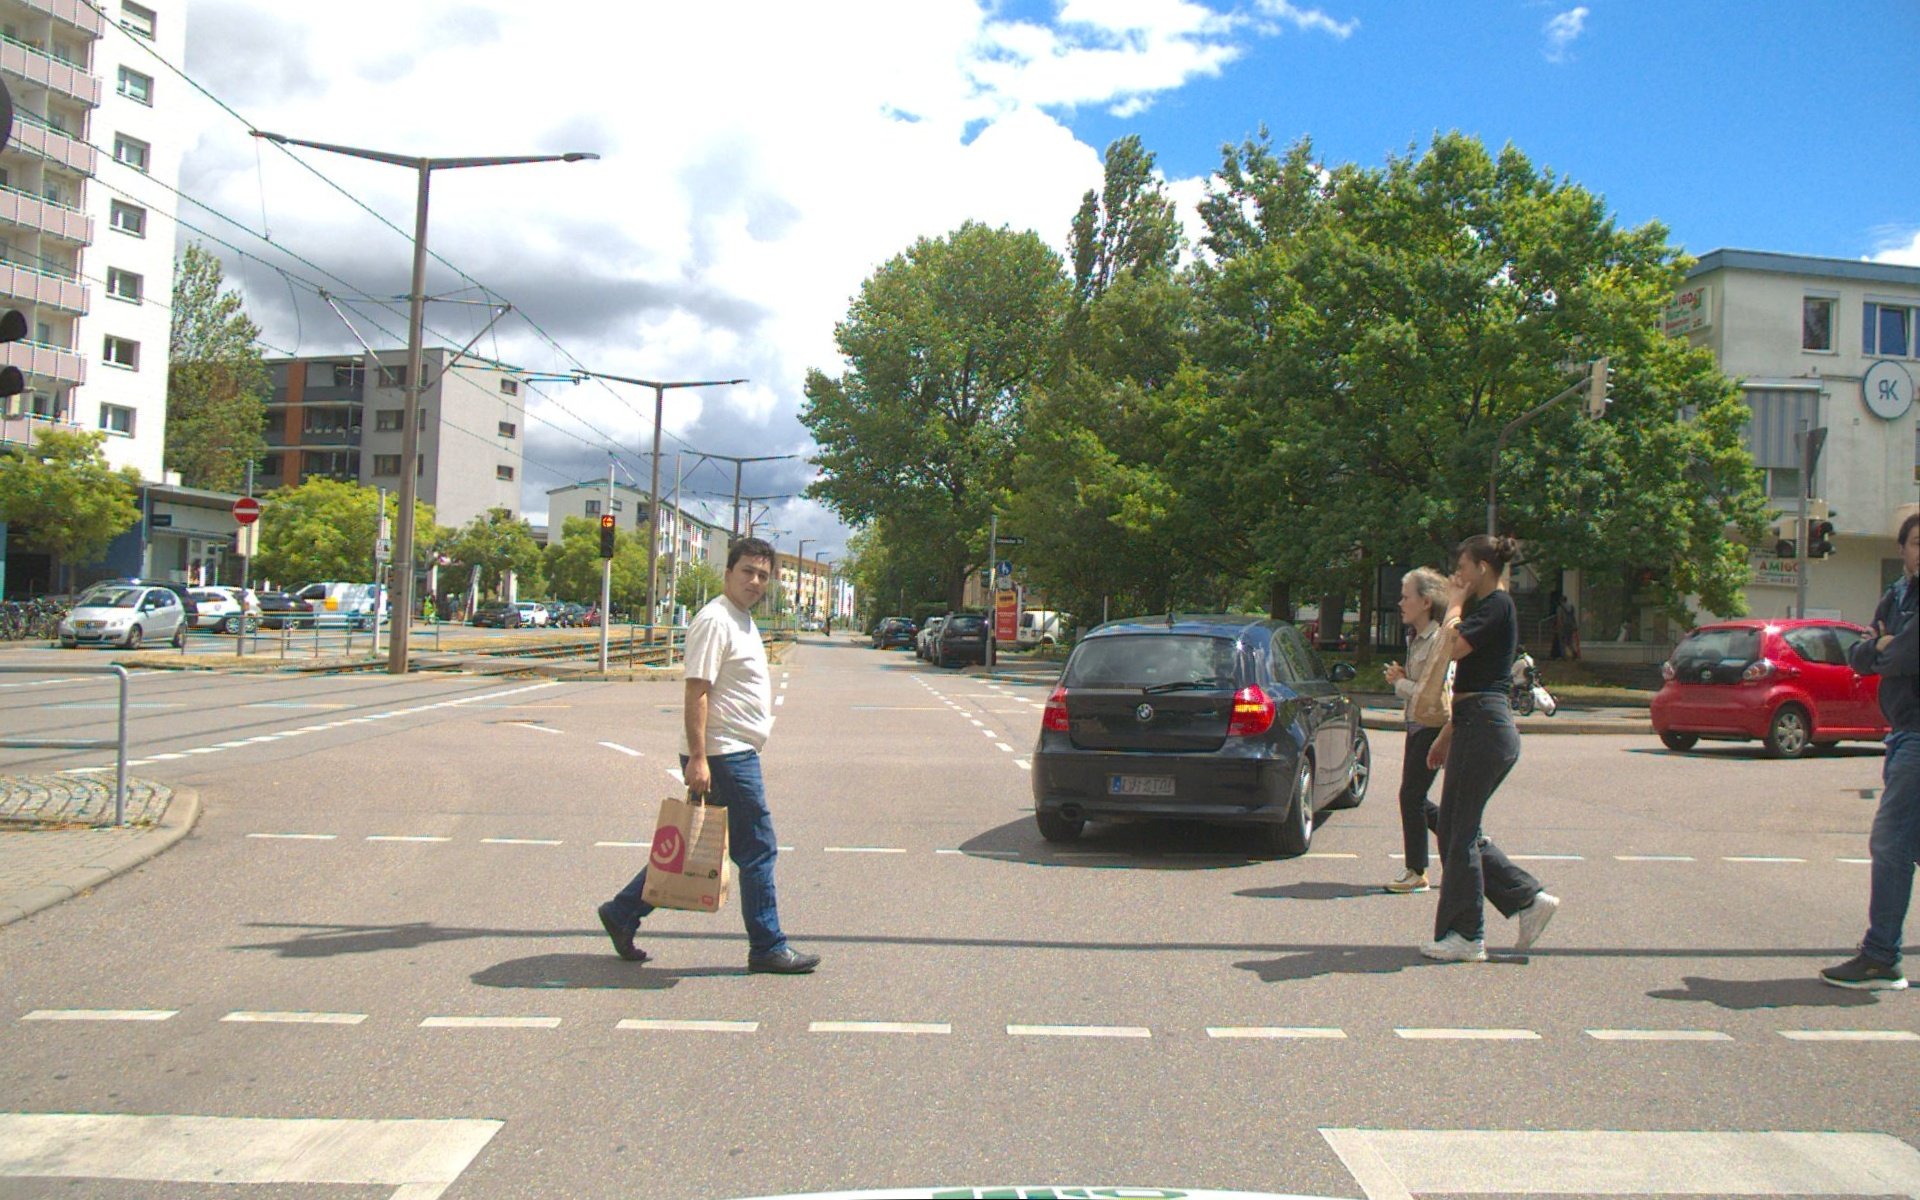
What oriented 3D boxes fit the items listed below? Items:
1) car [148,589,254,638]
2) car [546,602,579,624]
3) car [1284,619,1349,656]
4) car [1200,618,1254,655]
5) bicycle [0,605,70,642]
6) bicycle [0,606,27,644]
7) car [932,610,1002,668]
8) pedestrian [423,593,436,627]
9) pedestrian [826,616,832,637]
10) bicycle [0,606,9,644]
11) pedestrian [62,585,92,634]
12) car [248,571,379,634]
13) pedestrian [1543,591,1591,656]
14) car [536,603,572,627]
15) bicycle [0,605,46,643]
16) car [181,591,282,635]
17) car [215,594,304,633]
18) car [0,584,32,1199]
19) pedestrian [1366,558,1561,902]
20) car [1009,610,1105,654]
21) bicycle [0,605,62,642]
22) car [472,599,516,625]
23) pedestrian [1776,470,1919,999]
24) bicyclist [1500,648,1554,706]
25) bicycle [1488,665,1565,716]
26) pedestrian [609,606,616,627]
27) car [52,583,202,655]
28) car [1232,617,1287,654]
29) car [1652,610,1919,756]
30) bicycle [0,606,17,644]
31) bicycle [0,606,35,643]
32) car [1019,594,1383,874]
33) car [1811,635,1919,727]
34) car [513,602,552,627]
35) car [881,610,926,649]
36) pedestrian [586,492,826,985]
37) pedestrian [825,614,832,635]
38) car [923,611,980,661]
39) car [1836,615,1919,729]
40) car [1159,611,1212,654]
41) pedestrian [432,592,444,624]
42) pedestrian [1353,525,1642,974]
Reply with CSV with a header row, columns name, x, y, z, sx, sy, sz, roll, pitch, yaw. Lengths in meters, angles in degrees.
name,x,y,z,sx,sy,sz,roll,pitch,yaw
car,-26.769,0.468,58.275,4.143,1.597,1.949,1,0,43
car,-26.421,0.850,110.029,1.728,1.419,3.993,1,0,-7
car,16.779,1.729,78.065,1.698,1.623,3.993,1,0,-8
car,12.298,1.655,76.318,1.598,1.600,4.029,1,0,-4
bicycle,-24.884,0.625,44.132,1.910,0.951,0.494,1,-1,-7
bicycle,-24.842,0.613,42.011,1.910,0.951,0.494,1,-1,-7
car,0.183,1.225,52.596,2.108,1.713,3.999,1,-1,-1
pedestrian,-27.314,0.502,85.145,0.537,1.746,0.667,1,0,-11
pedestrian,-10.413,2.085,131.434,0.328,1.656,0.356,1,0,-19
bicycle,-24.744,0.609,41.042,1.910,0.951,0.494,1,-1,-7
pedestrian,-30.325,0.318,56.827,0.755,1.643,0.695,1,0,-17
car,-27.351,0.080,69.827,2.811,2.522,6.614,1,0,-44
pedestrian,15.978,0.618,43.547,0.756,1.672,0.903,2,0,-16
car,-25.849,0.940,105.377,1.728,1.419,3.993,1,0,-7
bicycle,-24.901,0.618,43.032,1.910,0.951,0.494,1,-1,-7
car,-27.142,0.479,61.567,4.143,1.564,1.949,1,0,43
car,-27.451,0.525,64.743,4.147,1.445,1.777,1,0,45
car,-2.580,0.694,0.822,1.693,1.487,4.543,1,0,-1
pedestrian,2.627,0.644,8.732,0.932,1.703,0.871,0,0,14
car,4.364,1.427,74.181,3.933,1.855,1.766,1,0,-24
bicycle,-24.827,0.623,43.644,1.910,0.951,0.494,1,-1,-7
car,-25.727,0.647,91.377,1.728,1.419,3.993,1,0,-7
pedestrian,4.010,0.509,6.655,0.947,1.976,0.896,1,0,-5
bicyclist,10.661,1.446,31.115,0.775,1.040,0.636,2,0,-1
bicycle,10.661,1.694,31.186,0.775,0.833,1.807,2,0,-1
pedestrian,-27.157,1.303,129.327,0.444,1.665,0.480,1,0,-3
car,-21.278,0.479,42.425,1.898,1.722,3.872,1,0,-1
car,14.019,1.647,77.611,1.598,1.623,3.997,1,0,-4
car,9.435,0.887,18.321,3.143,1.466,1.536,1,0,-24
bicycle,-24.794,0.611,41.507,1.910,0.951,0.494,1,-1,-7
bicycle,-24.888,0.615,42.486,1.910,0.951,0.494,1,-1,-7
car,1.827,0.752,11.346,1.716,1.513,4.001,1,0,19
car,18.256,1.507,30.877,3.838,1.583,1.994,1,0,-12
car,-25.526,0.875,98.916,1.728,1.419,3.993,1,0,-7
car,-2.535,1.317,75.385,1.953,1.713,3.999,1,0,-1
pedestrian,-0.981,0.523,6.583,0.851,1.839,0.741,1,0,-5
pedestrian,-10.446,1.969,131.356,0.469,1.665,0.454,1,0,-2
car,-0.323,1.290,60.034,1.953,1.713,3.999,1,-1,-1
car,17.020,1.170,27.018,4.472,1.747,1.997,1,0,-8
car,10.255,1.469,75.423,1.598,1.842,4.029,1,0,-4
pedestrian,-28.662,0.432,90.801,0.537,1.746,0.404,1,0,-11
pedestrian,2.281,0.597,7.088,0.917,1.796,0.770,0,0,-12
